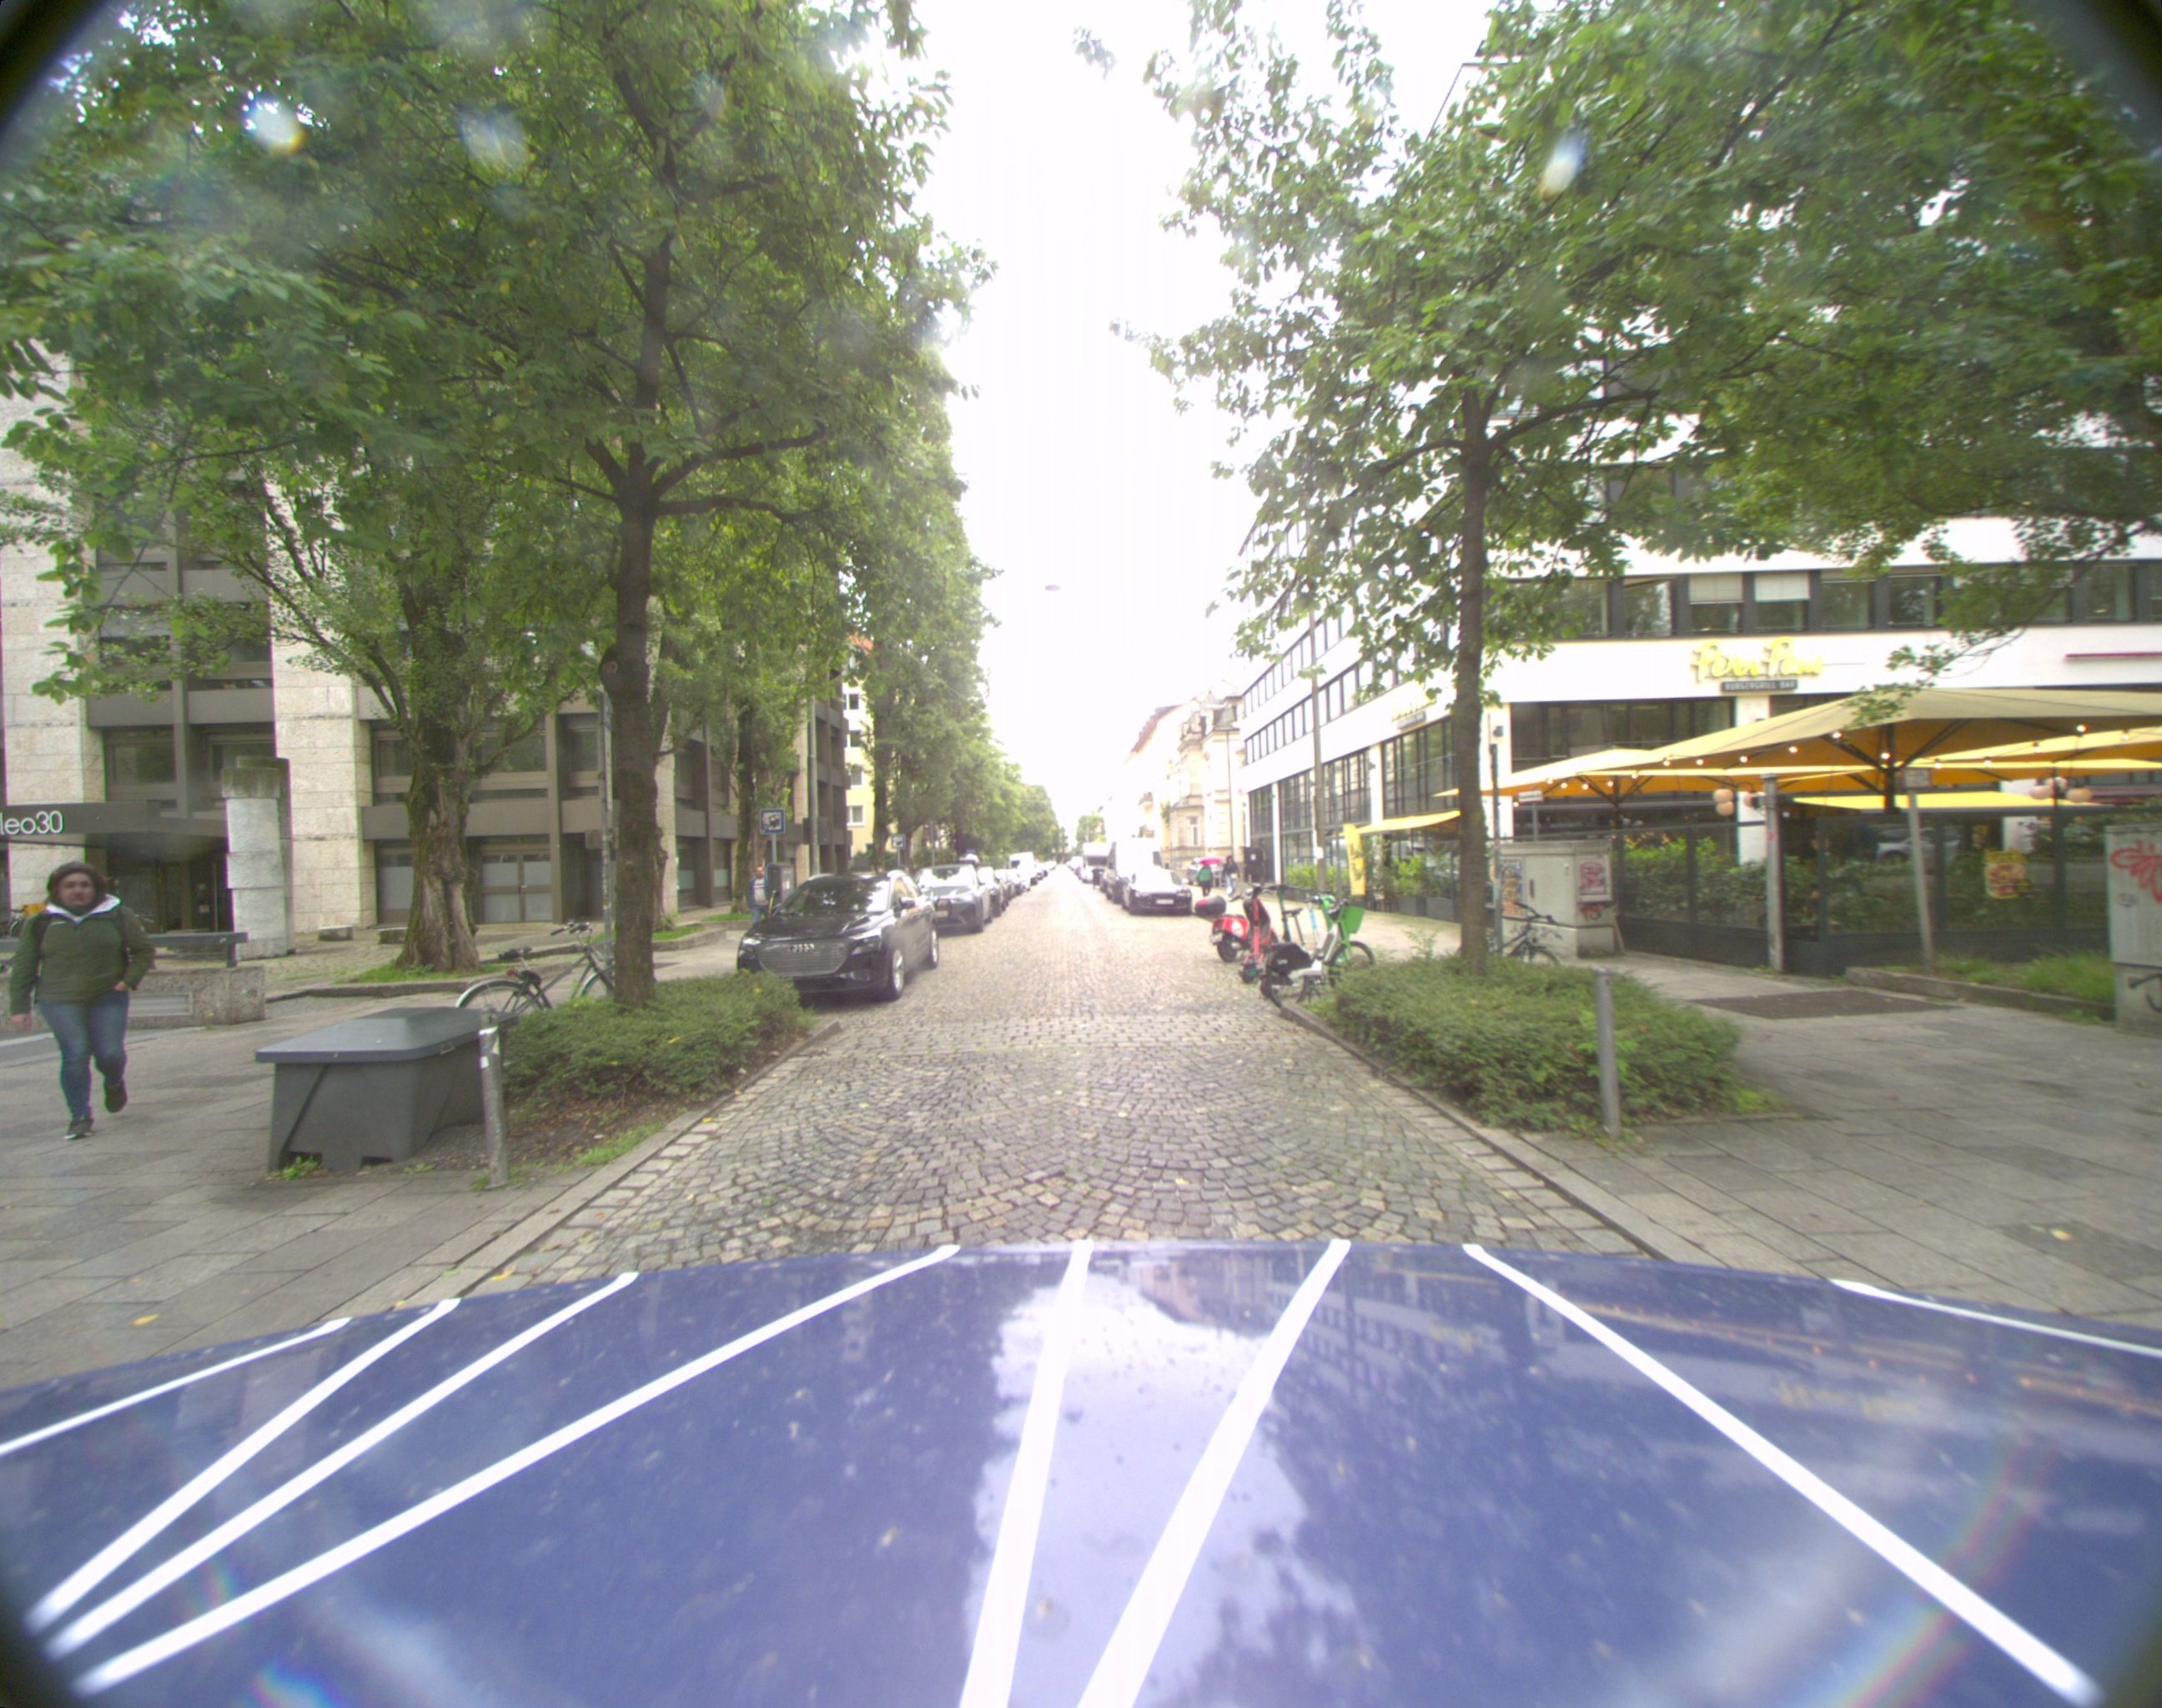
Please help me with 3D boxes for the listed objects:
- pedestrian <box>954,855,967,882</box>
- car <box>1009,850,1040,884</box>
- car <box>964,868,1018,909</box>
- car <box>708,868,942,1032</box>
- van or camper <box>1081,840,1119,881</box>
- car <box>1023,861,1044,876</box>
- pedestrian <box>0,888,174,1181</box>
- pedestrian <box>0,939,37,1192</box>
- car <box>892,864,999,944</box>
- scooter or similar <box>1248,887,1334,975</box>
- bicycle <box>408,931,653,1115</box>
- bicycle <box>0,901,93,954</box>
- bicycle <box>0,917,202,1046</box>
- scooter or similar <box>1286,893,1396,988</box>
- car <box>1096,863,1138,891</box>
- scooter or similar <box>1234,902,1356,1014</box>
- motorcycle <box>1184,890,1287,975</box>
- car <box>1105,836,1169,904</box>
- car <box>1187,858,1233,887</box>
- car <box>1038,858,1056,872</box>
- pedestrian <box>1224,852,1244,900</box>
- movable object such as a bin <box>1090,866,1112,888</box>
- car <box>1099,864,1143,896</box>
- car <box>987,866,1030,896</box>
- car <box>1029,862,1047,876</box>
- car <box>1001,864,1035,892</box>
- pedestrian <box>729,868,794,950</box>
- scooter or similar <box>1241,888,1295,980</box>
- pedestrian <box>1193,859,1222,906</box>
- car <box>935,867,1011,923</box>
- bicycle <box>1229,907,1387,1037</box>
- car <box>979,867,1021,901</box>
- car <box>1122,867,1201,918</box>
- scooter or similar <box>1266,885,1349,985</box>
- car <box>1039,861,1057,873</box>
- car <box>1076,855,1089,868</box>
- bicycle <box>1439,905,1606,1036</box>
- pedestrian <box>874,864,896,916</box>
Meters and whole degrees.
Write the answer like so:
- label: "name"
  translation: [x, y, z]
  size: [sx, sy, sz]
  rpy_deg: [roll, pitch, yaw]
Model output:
- label: "pedestrian"
  translation: [-7.036, 0.824, 44.363]
  size: [0.646, 1.528, 0.709]
  rpy_deg: [-2, 0, -4]
- label: "car"
  translation: [-4.344, 1.002, 59.133]
  size: [2.088, 2.418, 5.609]
  rpy_deg: [-3, 0, -3]
- label: "car"
  translation: [-3.695, 1.397, 31.779]
  size: [1.724, 1.382, 4.205]
  rpy_deg: [-5, 0, -1]
- label: "car"
  translation: [-3.248, 1.111, 10.628]
  size: [1.926, 1.690, 4.200]
  rpy_deg: [-2, 0, -2]
- label: "van or camper"
  translation: [1.457, 0.498, 61.212]
  size: [2.464, 3.029, 7.316]
  rpy_deg: [-2, 0, -2]
- label: "car"
  translation: [-4.835, 1.504, 77.753]
  size: [1.999, 1.379, 3.872]
  rpy_deg: [-3, 0, -4]
- label: "pedestrian"
  translation: [-6.536, 1.085, 4.867]
  size: [0.689, 1.690, 0.665]
  rpy_deg: [-1, 0, 15]
- label: "pedestrian"
  translation: [-6.546, 1.206, 4.101]
  size: [0.769, 1.411, 0.819]
  rpy_deg: [-1, 0, 15]
- label: "car"
  translation: [-3.308, 1.151, 19.511]
  size: [2.018, 1.690, 4.672]
  rpy_deg: [-2, 0, -2]
- label: "scooter or similar"
  translation: [3.052, 1.094, 11.148]
  size: [0.391, 1.173, 1.248]
  rpy_deg: [-2, 0, -32]
- label: "bicycle"
  translation: [-4.504, 1.318, 6.417]
  size: [0.475, 1.130, 1.877]
  rpy_deg: [-2, 0, 8]
- label: "bicycle"
  translation: [-26.283, 1.826, 18.830]
  size: [0.647, 1.149, 2.246]
  rpy_deg: [-2, 0, -1]
- label: "bicycle"
  translation: [-11.146, 1.395, 8.449]
  size: [1.868, 1.269, 0.722]
  rpy_deg: [-2, 0, 1]
- label: "scooter or similar"
  translation: [3.302, 1.096, 9.684]
  size: [1.250, 1.137, 0.327]
  rpy_deg: [-2, 0, 0]
- label: "car"
  translation: [1.907, 1.247, 41.920]
  size: [1.999, 1.380, 3.999]
  rpy_deg: [-1, 0, -2]
- label: "scooter or similar"
  translation: [2.500, 1.178, 8.840]
  size: [1.432, 1.137, 0.369]
  rpy_deg: [-2, 0, -24]
- label: "motorcycle"
  translation: [2.536, 1.213, 12.276]
  size: [0.769, 1.188, 1.996]
  rpy_deg: [0, -1, 40]
- label: "car"
  translation: [2.150, 0.600, 31.020]
  size: [2.065, 2.476, 5.848]
  rpy_deg: [-1, 0, -1]
- label: "car"
  translation: [7.434, 1.034, 44.077]
  size: [1.912, 1.523, 4.169]
  rpy_deg: [-2, 0, 0]
- label: "car"
  translation: [-4.316, 1.339, 95.966]
  size: [1.999, 1.680, 3.872]
  rpy_deg: [-3, 0, -4]
- label: "pedestrian"
  translation: [5.646, 0.813, 28.086]
  size: [0.575, 1.738, 0.650]
  rpy_deg: [-1, 0, -1]
- label: "movable object such as a bin"
  translation: [1.237, 1.422, 47.181]
  size: [1.255, 1.290, 1.174]
  rpy_deg: [-1, 0, -5]
- label: "car"
  translation: [1.899, 1.228, 37.111]
  size: [1.998, 1.422, 4.000]
  rpy_deg: [-1, 0, 1]
- label: "car"
  translation: [-3.865, 1.415, 41.258]
  size: [1.999, 1.379, 3.873]
  rpy_deg: [-3, 0, -2]
- label: "car"
  translation: [-4.902, 1.697, 86.328]
  size: [1.999, 1.379, 3.872]
  rpy_deg: [-2, 0, -4]
- label: "car"
  translation: [-3.800, 1.435, 46.426]
  size: [1.868, 1.490, 3.872]
  rpy_deg: [-3, 0, -4]
- label: "pedestrian"
  translation: [-6.879, 1.167, 16.385]
  size: [0.867, 1.704, 0.913]
  rpy_deg: [-2, 0, 18]
- label: "scooter or similar"
  translation: [2.842, 1.165, 11.488]
  size: [0.326, 1.265, 1.360]
  rpy_deg: [-1, -1, 33]
- label: "pedestrian"
  translation: [4.761, 1.067, 28.627]
  size: [0.928, 1.696, 0.800]
  rpy_deg: [-2, 0, 2]
- label: "car"
  translation: [-3.495, 1.274, 25.314]
  size: [1.999, 1.573, 4.341]
  rpy_deg: [-2, 0, -2]
- label: "bicycle"
  translation: [2.447, 1.201, 8.108]
  size: [1.765, 1.136, 0.552]
  rpy_deg: [-2, 0, -31]
- label: "car"
  translation: [-3.832, 1.410, 36.433]
  size: [1.605, 1.422, 3.562]
  rpy_deg: [-4, 0, -2]
- label: "car"
  translation: [2.426, 1.150, 23.856]
  size: [1.998, 1.322, 4.116]
  rpy_deg: [-2, 0, 0]
- label: "scooter or similar"
  translation: [3.149, 1.091, 10.537]
  size: [1.253, 1.265, 0.327]
  rpy_deg: [-1, 0, -31]
- label: "car"
  translation: [-3.989, 1.561, 91.491]
  size: [1.999, 1.379, 3.872]
  rpy_deg: [-1, 0, -4]
- label: "car"
  translation: [0.232, 1.430, 146.024]
  size: [2.088, 2.418, 5.609]
  rpy_deg: [-2, 0, -3]
- label: "bicycle"
  translation: [4.272, 1.073, 7.516]
  size: [0.553, 1.016, 1.762]
  rpy_deg: [-2, 0, -2]
- label: "pedestrian"
  translation: [-6.267, 1.129, 24.269]
  size: [0.489, 1.619, 0.568]
  rpy_deg: [-2, 0, 2]
